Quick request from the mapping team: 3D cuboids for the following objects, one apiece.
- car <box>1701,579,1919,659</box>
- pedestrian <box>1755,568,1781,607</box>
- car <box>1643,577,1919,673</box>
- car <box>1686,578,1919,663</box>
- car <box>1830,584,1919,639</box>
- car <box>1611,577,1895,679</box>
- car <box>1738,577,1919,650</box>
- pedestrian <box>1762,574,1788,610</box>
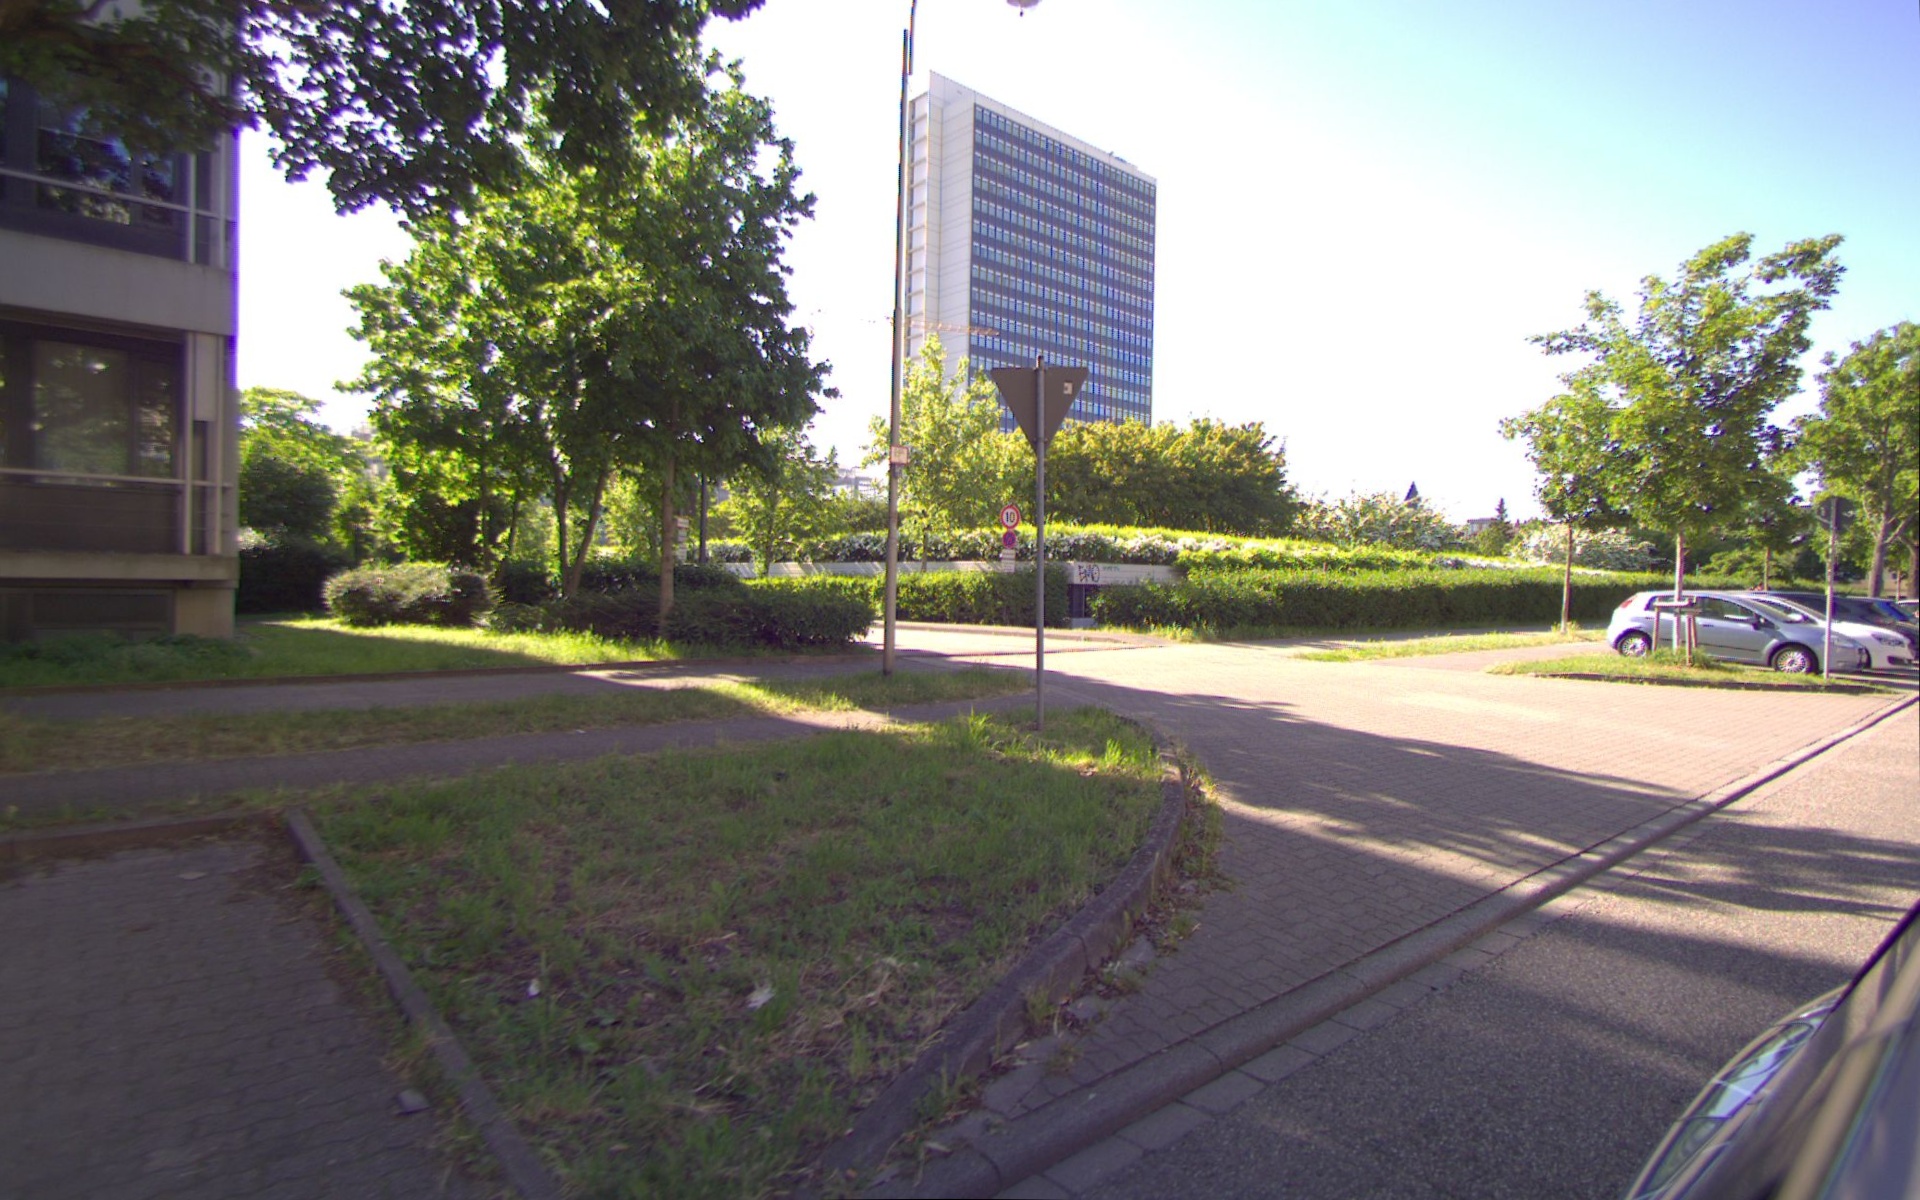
[{"bbox_3d":[20.904,0.402,24.321,2.120,1.533,4.562,-1,5,-40],"label":"car"},{"bbox_3d":[32.514,-0.509,40.708,0.920,1.561,0.608,0,2,-41],"label":"pedestrian"},{"bbox_3d":[17.269,0.420,21.148,1.947,1.533,4.562,0,5,-39],"label":"car"},{"bbox_3d":[18.950,0.380,22.780,1.720,1.533,3.886,0,4,-40],"label":"car"},{"bbox_3d":[29.102,0.439,30.433,1.611,1.446,4.108,0,5,-33],"label":"car"},{"bbox_3d":[15.091,0.432,19.440,1.671,1.533,3.959,0,4,-39],"label":"car"},{"bbox_3d":[22.813,0.290,26.221,1.713,1.465,3.818,0,6,-38],"label":"car"},{"bbox_3d":[37.021,-0.355,45.981,0.837,1.607,0.725,1,1,-39],"label":"pedestrian"}]
